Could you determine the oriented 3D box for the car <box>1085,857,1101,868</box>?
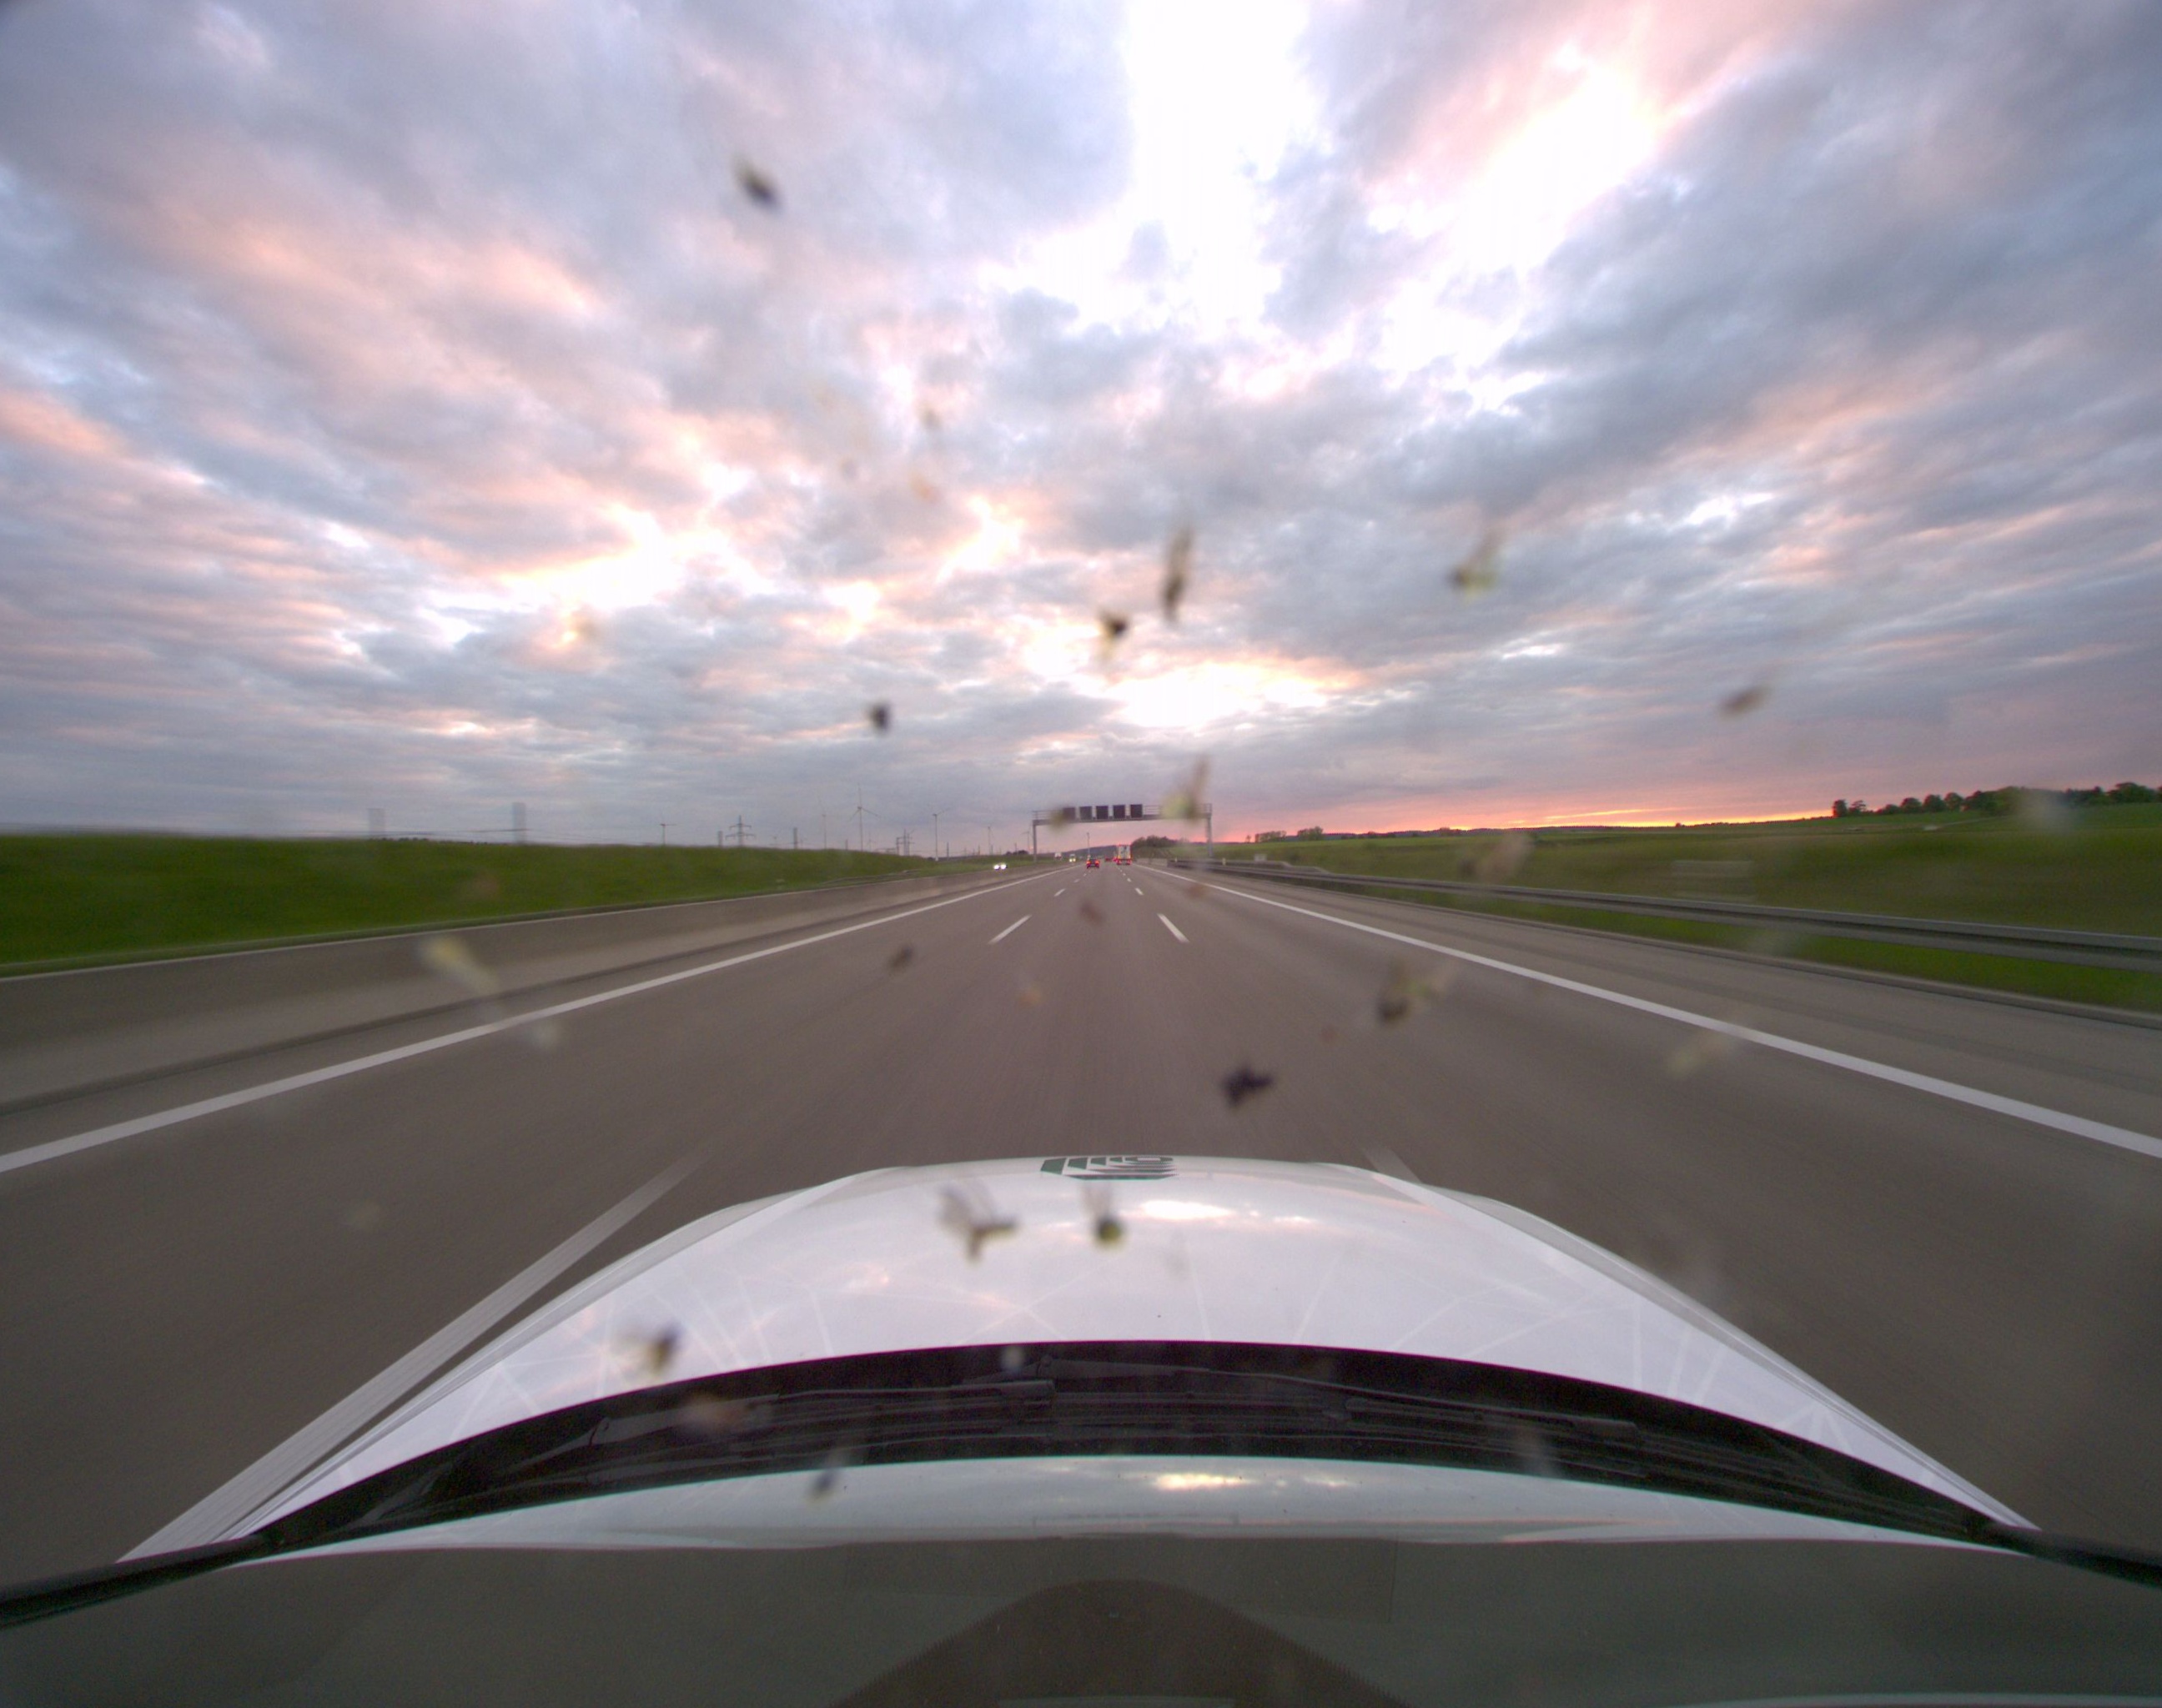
[{"bbox_3d":[1.687,1.210,113.293,1.980,1.429,4.002,-2,0,2],"label":"car"}]

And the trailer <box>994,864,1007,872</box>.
[{"bbox_3d":[-14.652,2.557,148.962,1.710,1.464,4.003,-2,0,3],"label":"trailer"}]

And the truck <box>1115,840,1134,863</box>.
[{"bbox_3d":[8.802,-0.486,167.020,3.661,4.565,10.987,-1,0,2],"label":"truck"}]
